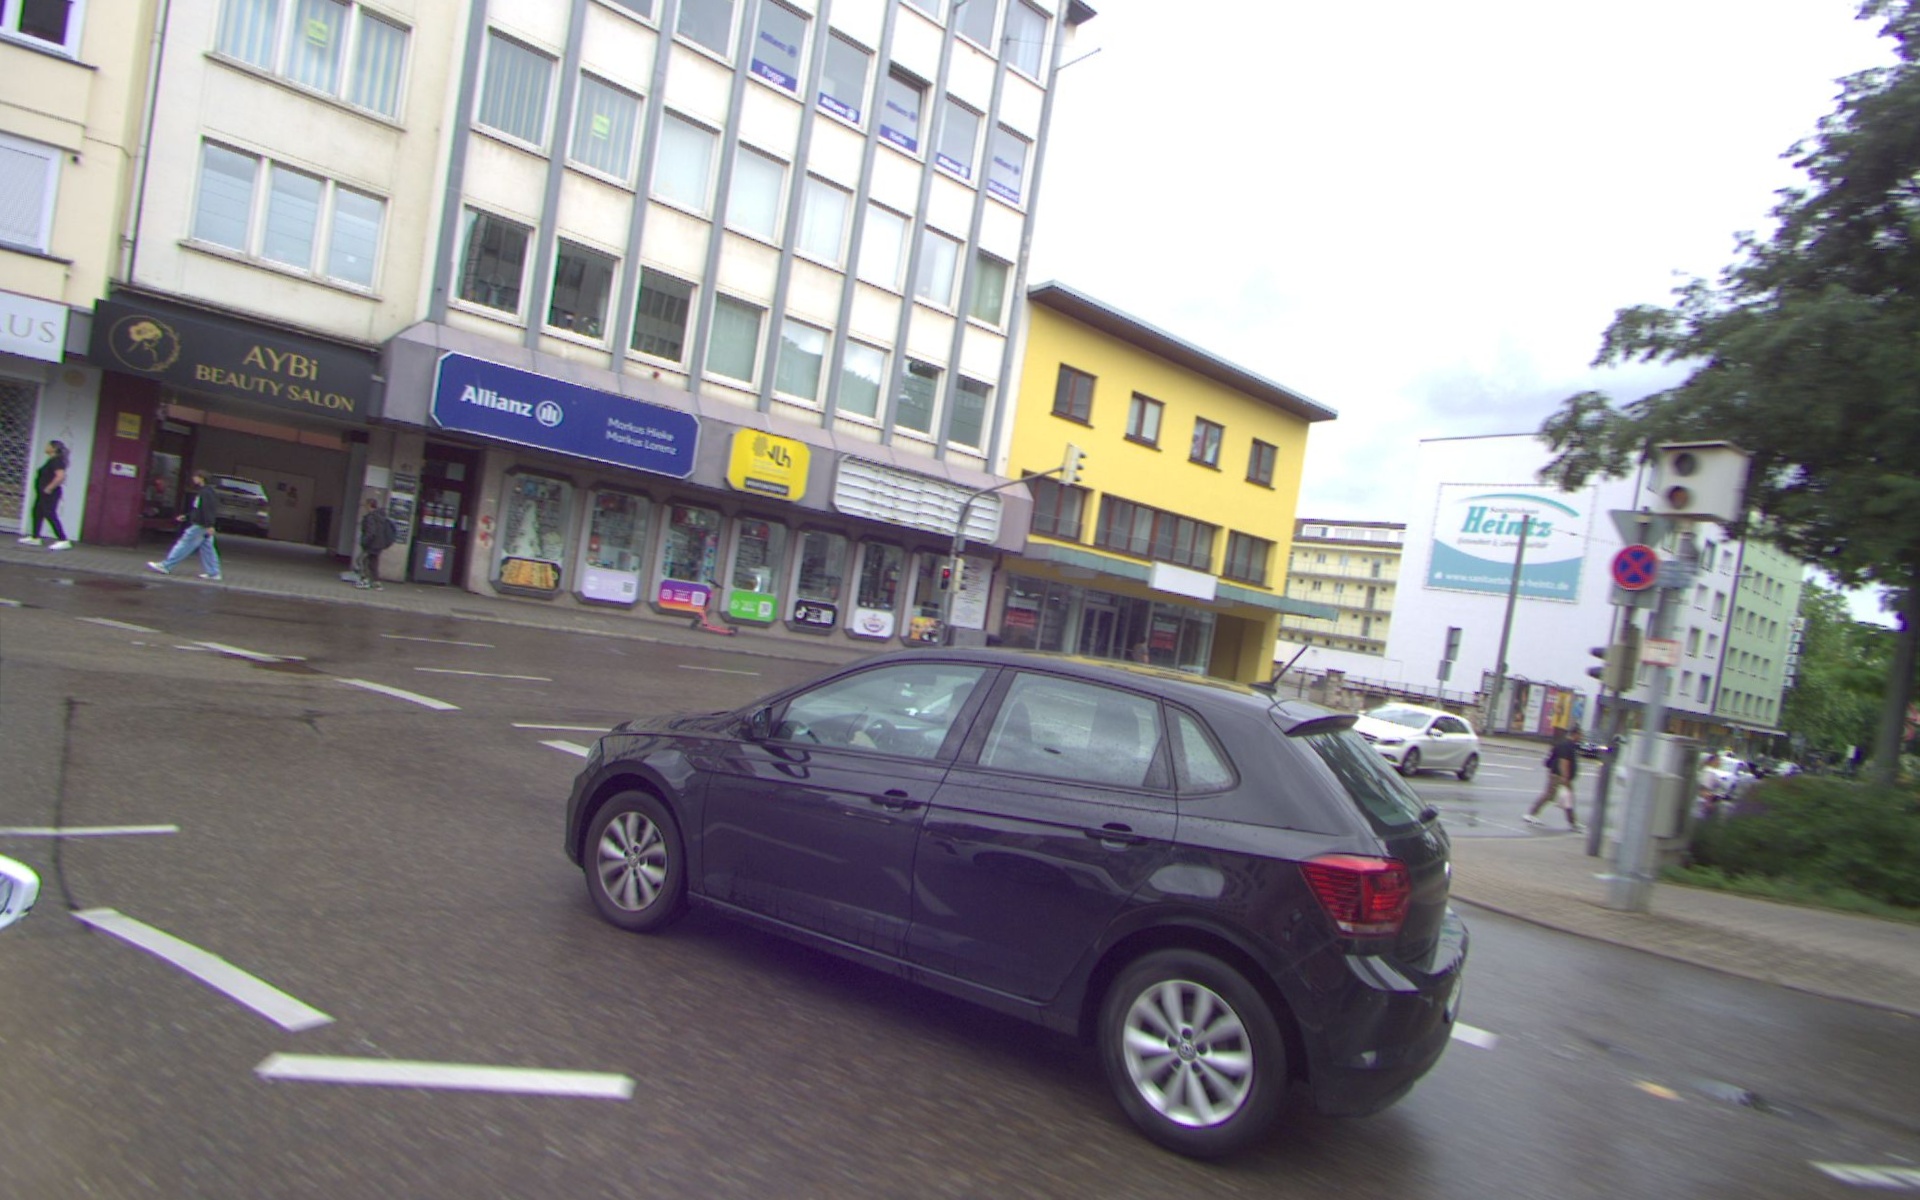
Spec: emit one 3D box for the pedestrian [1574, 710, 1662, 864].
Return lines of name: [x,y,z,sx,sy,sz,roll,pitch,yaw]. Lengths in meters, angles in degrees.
pedestrian: [8.463,2.393,12.935,0.711,1.845,0.672,11,-6,-41]

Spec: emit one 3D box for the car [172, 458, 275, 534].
car: [-20.220,-2.817,27.545,1.791,1.690,3.953,7,0,-42]

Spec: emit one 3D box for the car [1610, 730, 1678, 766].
car: [38.624,8.379,56.776,4.170,1.431,1.808,9,3,-38]

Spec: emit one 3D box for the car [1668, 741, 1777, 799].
car: [27.654,6.181,36.458,4.166,1.440,1.810,10,3,-35]

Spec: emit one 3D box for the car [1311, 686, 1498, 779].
car: [9.983,2.986,22.489,4.168,1.431,1.809,10,3,-36]

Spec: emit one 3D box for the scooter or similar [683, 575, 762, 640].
scooter or similar: [-5.606,0.179,23.756,1.505,1.225,0.614,11,3,-35]

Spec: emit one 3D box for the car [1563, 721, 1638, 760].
car: [33.043,7.256,51.898,4.170,1.431,1.808,9,3,-38]

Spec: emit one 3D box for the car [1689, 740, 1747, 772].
car: [48.525,9.981,64.385,4.170,1.431,1.808,9,3,-38]

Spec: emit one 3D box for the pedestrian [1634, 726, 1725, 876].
pedestrian: [8.866,2.468,12.394,0.711,1.694,0.672,11,-6,-40]

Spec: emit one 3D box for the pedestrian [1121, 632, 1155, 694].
pedestrian: [5.696,2.018,32.141,0.667,1.845,0.893,7,-4,23]

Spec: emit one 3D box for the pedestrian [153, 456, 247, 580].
pedestrian: [-12.657,-1.350,16.746,1.026,1.823,0.819,7,6,-42]

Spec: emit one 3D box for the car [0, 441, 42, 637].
car: [-10.717,-0.881,8.600,4.420,1.715,1.906,8,-1,12]

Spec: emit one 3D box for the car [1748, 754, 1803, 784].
car: [54.583,11.348,67.339,4.170,1.431,1.808,9,3,-38]

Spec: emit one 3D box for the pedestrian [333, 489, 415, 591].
pedestrian: [-11.140,-1.138,19.125,1.026,1.711,0.819,7,6,-42]

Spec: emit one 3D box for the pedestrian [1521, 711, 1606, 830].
pedestrian: [10.455,2.948,17.416,0.879,1.847,0.822,9,-1,43]

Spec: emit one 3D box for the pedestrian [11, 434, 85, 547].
pedestrian: [-15.156,-1.814,16.735,0.750,1.712,0.558,7,6,-42]

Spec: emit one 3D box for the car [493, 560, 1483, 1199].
car: [-0.030,0.830,4.456,3.934,1.495,1.691,7,-1,32]
